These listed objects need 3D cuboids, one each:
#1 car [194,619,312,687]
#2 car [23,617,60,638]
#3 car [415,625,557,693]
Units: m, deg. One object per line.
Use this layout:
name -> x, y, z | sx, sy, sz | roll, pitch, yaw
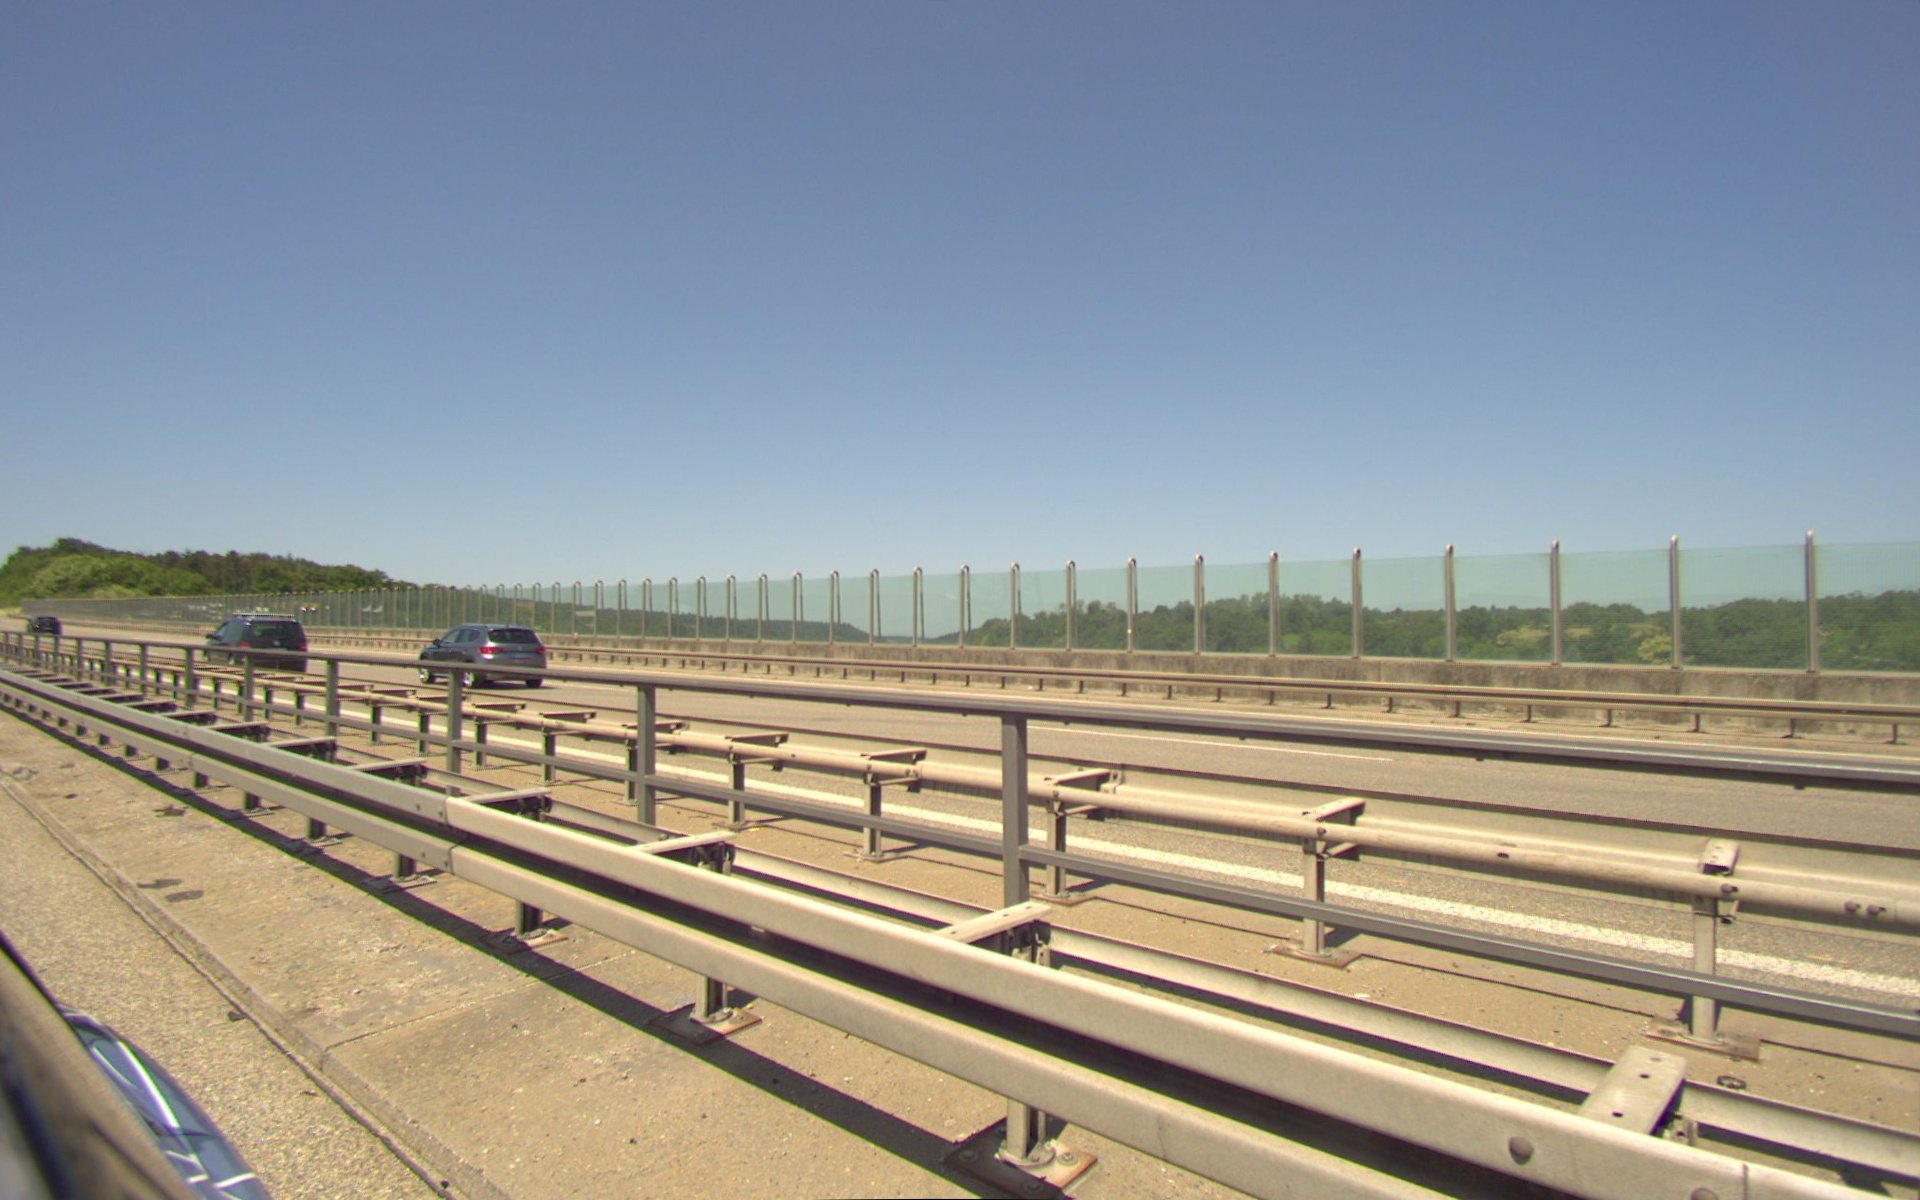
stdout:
car -> -19.704, 1.461, 28.151 | 4.098, 1.734, 1.736 | -3, -1, 41
car -> -75.536, 2.252, 83.189 | 4.386, 1.581, 1.761 | -1, -3, 42
car -> -12.074, 1.464, 25.691 | 3.998, 1.559, 1.736 | 0, -3, 41
